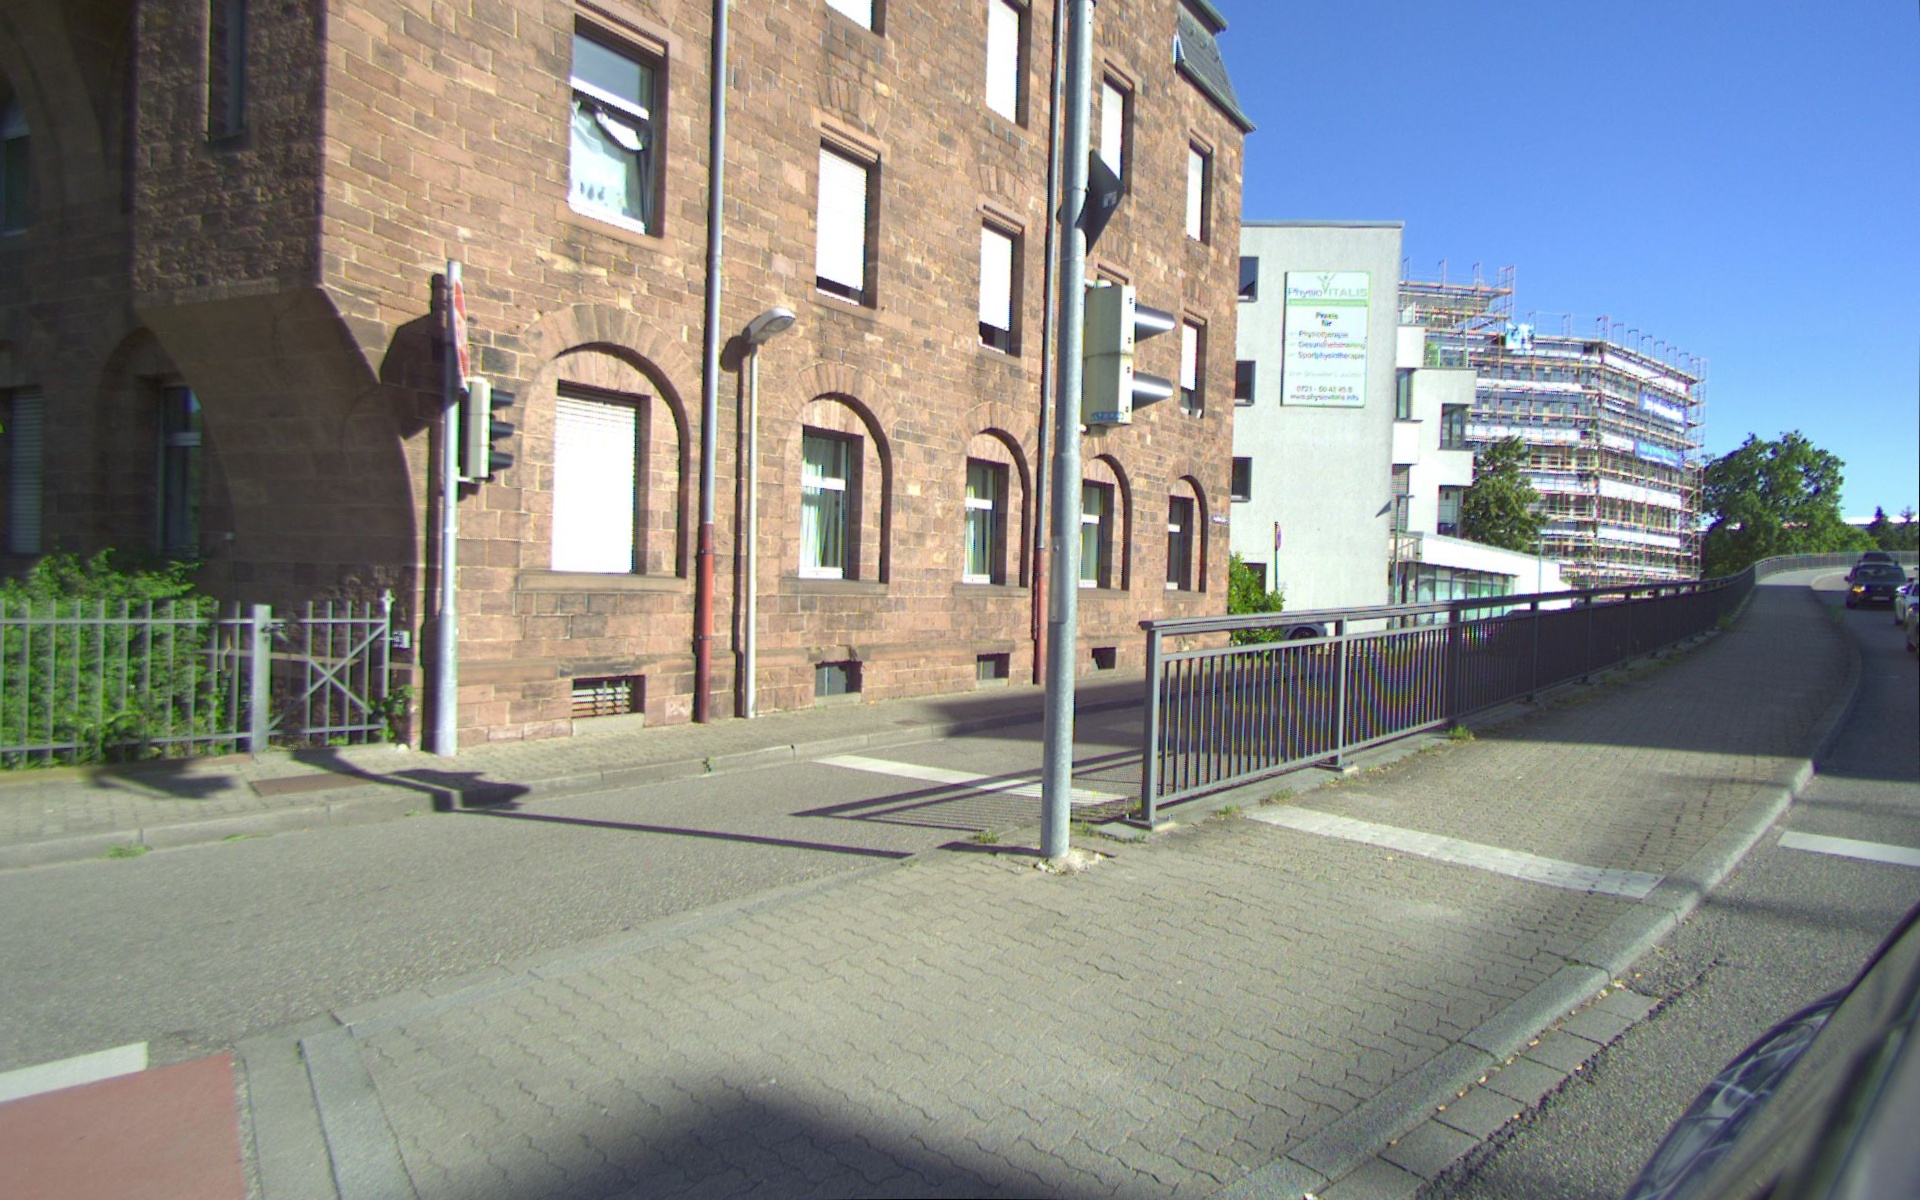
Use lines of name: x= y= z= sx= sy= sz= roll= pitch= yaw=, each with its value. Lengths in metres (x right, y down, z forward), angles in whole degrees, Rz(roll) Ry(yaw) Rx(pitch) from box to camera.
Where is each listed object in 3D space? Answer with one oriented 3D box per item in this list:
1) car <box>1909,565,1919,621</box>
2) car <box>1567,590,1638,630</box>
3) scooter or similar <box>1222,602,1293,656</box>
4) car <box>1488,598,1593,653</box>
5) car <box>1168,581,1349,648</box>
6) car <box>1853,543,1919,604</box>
car: x=28.902 y=-0.232 z=29.316 sx=1.843 sy=1.554 sz=4.443 roll=1 pitch=3 yaw=41
car: x=27.165 y=0.402 z=42.730 sx=1.844 sy=1.554 sz=3.938 roll=3 pitch=2 yaw=43
scooter or similar: x=7.035 y=0.661 z=23.941 sx=1.453 sy=1.234 sz=0.775 roll=-1 pitch=-1 yaw=37
car: x=18.444 y=0.753 z=32.052 sx=1.845 sy=1.448 sz=4.609 roll=1 pitch=3 yaw=44
car: x=8.335 y=0.374 z=28.592 sx=4.564 sy=1.789 sz=1.827 roll=0 pitch=2 yaw=3
car: x=37.127 y=-1.123 z=40.462 sx=1.901 sy=2.240 sz=4.536 roll=1 pitch=4 yaw=39
